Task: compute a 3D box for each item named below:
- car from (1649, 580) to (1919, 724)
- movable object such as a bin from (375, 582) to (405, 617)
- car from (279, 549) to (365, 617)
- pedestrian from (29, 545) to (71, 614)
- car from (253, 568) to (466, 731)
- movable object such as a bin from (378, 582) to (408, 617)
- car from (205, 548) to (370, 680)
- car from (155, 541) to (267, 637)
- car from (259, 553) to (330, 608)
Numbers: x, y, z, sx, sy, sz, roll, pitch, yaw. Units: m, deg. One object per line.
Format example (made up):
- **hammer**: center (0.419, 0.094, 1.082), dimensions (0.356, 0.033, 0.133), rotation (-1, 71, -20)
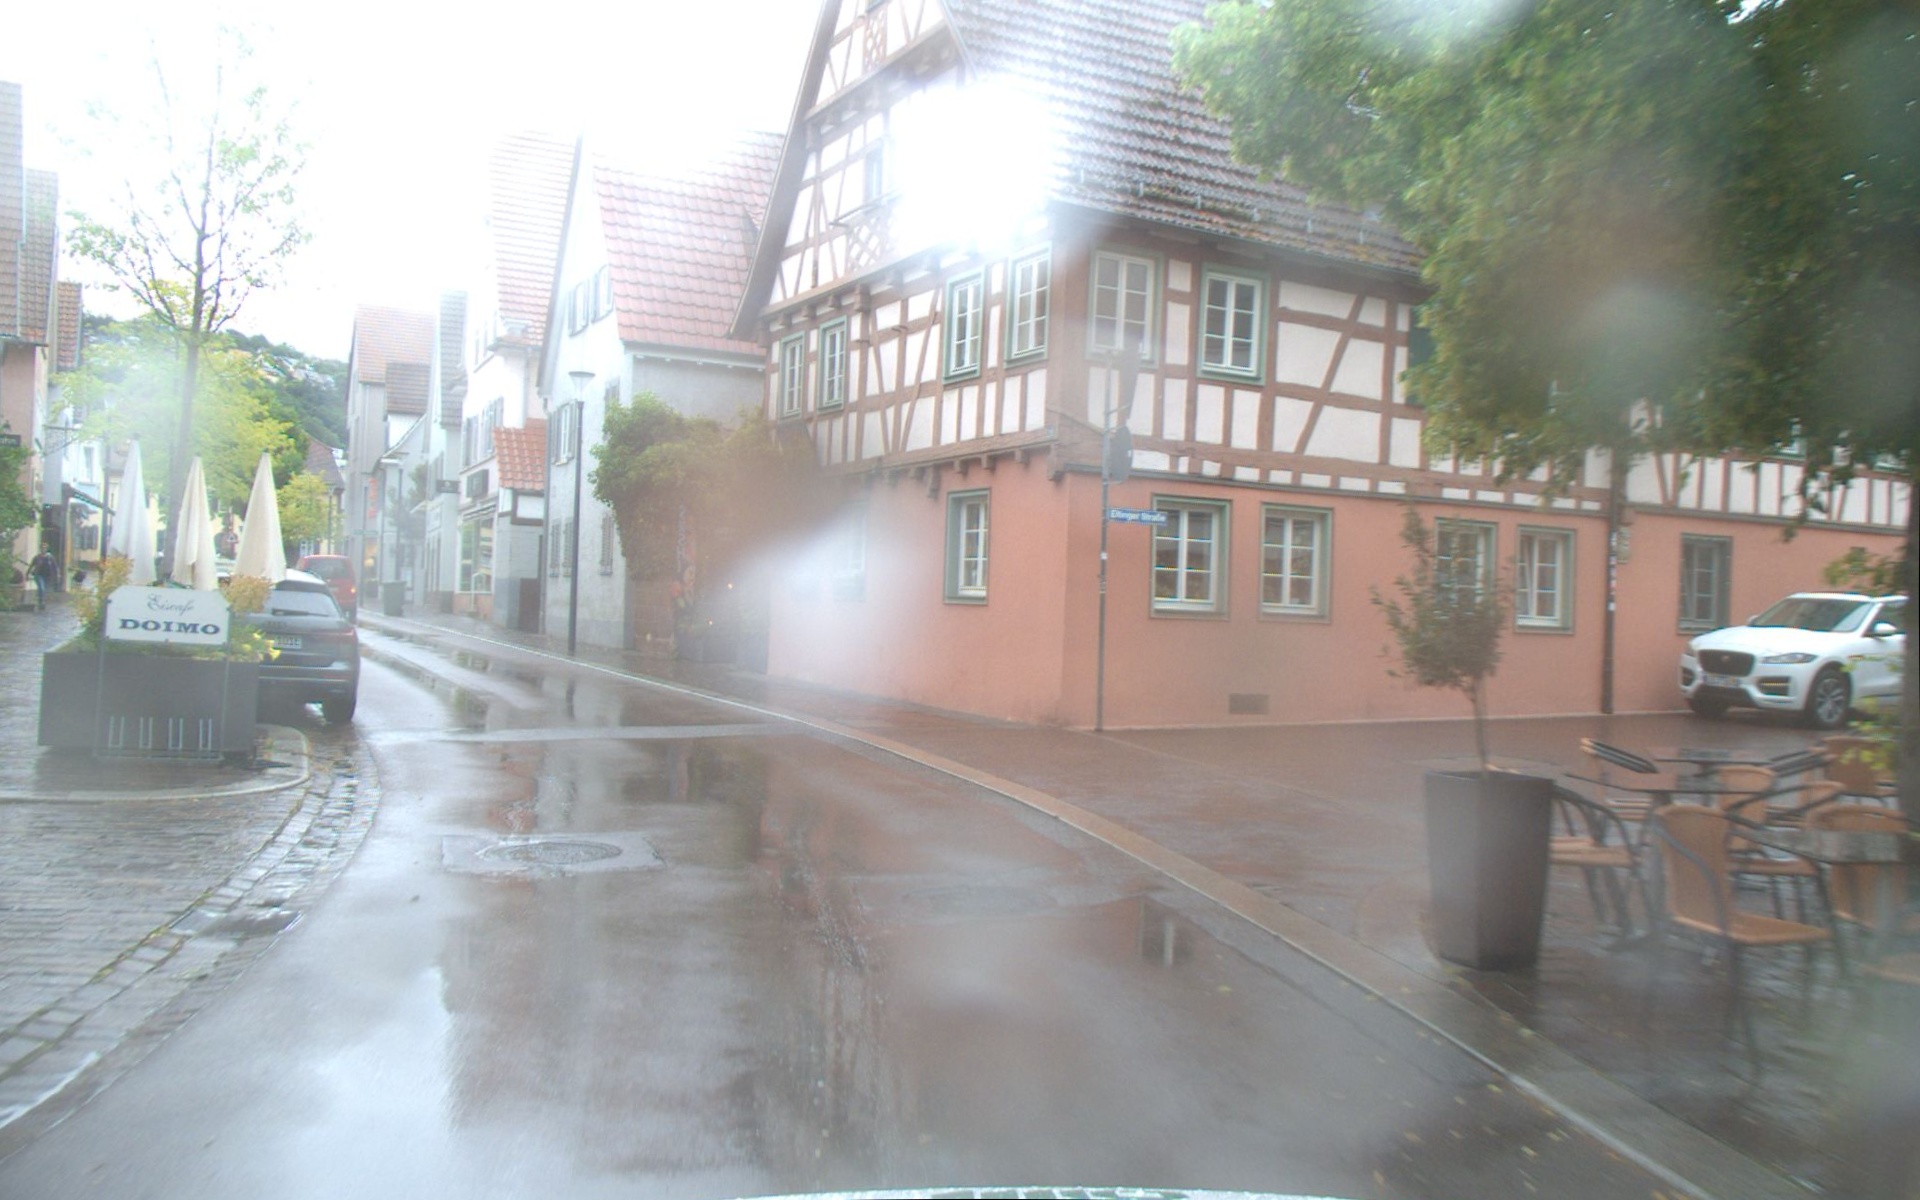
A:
- **car**: center (11.455, 0.642, 21.705), dimensions (4.546, 1.661, 1.983), rotation (1, 2, -27)
- **movable object such as a bin**: center (-18.229, -0.015, 52.880), dimensions (0.787, 1.099, 0.577), rotation (2, -1, -29)
- **car**: center (-19.576, -0.545, 50.656), dimensions (1.873, 1.843, 3.962), rotation (4, 0, -29)
- **pedestrian**: center (-23.516, -0.510, 42.723), dimensions (0.781, 1.711, 1.163), rotation (4, -2, -34)
- **car**: center (-6.533, 0.444, 17.735), dimensions (1.837, 1.467, 4.587), rotation (3, 0, -23)
- **movable object such as a bin**: center (-17.936, -0.008, 52.318), dimensions (0.784, 1.099, 0.609), rotation (2, -1, -29)
- **car**: center (-9.344, 0.160, 22.883), dimensions (1.837, 1.551, 4.296), rotation (4, -1, -24)
- **car**: center (-14.780, -0.166, 32.662), dimensions (1.801, 1.695, 4.606), rotation (3, -2, -25)
- **car**: center (-24.638, -0.688, 61.185), dimensions (1.971, 1.831, 3.963), rotation (3, -2, -28)
